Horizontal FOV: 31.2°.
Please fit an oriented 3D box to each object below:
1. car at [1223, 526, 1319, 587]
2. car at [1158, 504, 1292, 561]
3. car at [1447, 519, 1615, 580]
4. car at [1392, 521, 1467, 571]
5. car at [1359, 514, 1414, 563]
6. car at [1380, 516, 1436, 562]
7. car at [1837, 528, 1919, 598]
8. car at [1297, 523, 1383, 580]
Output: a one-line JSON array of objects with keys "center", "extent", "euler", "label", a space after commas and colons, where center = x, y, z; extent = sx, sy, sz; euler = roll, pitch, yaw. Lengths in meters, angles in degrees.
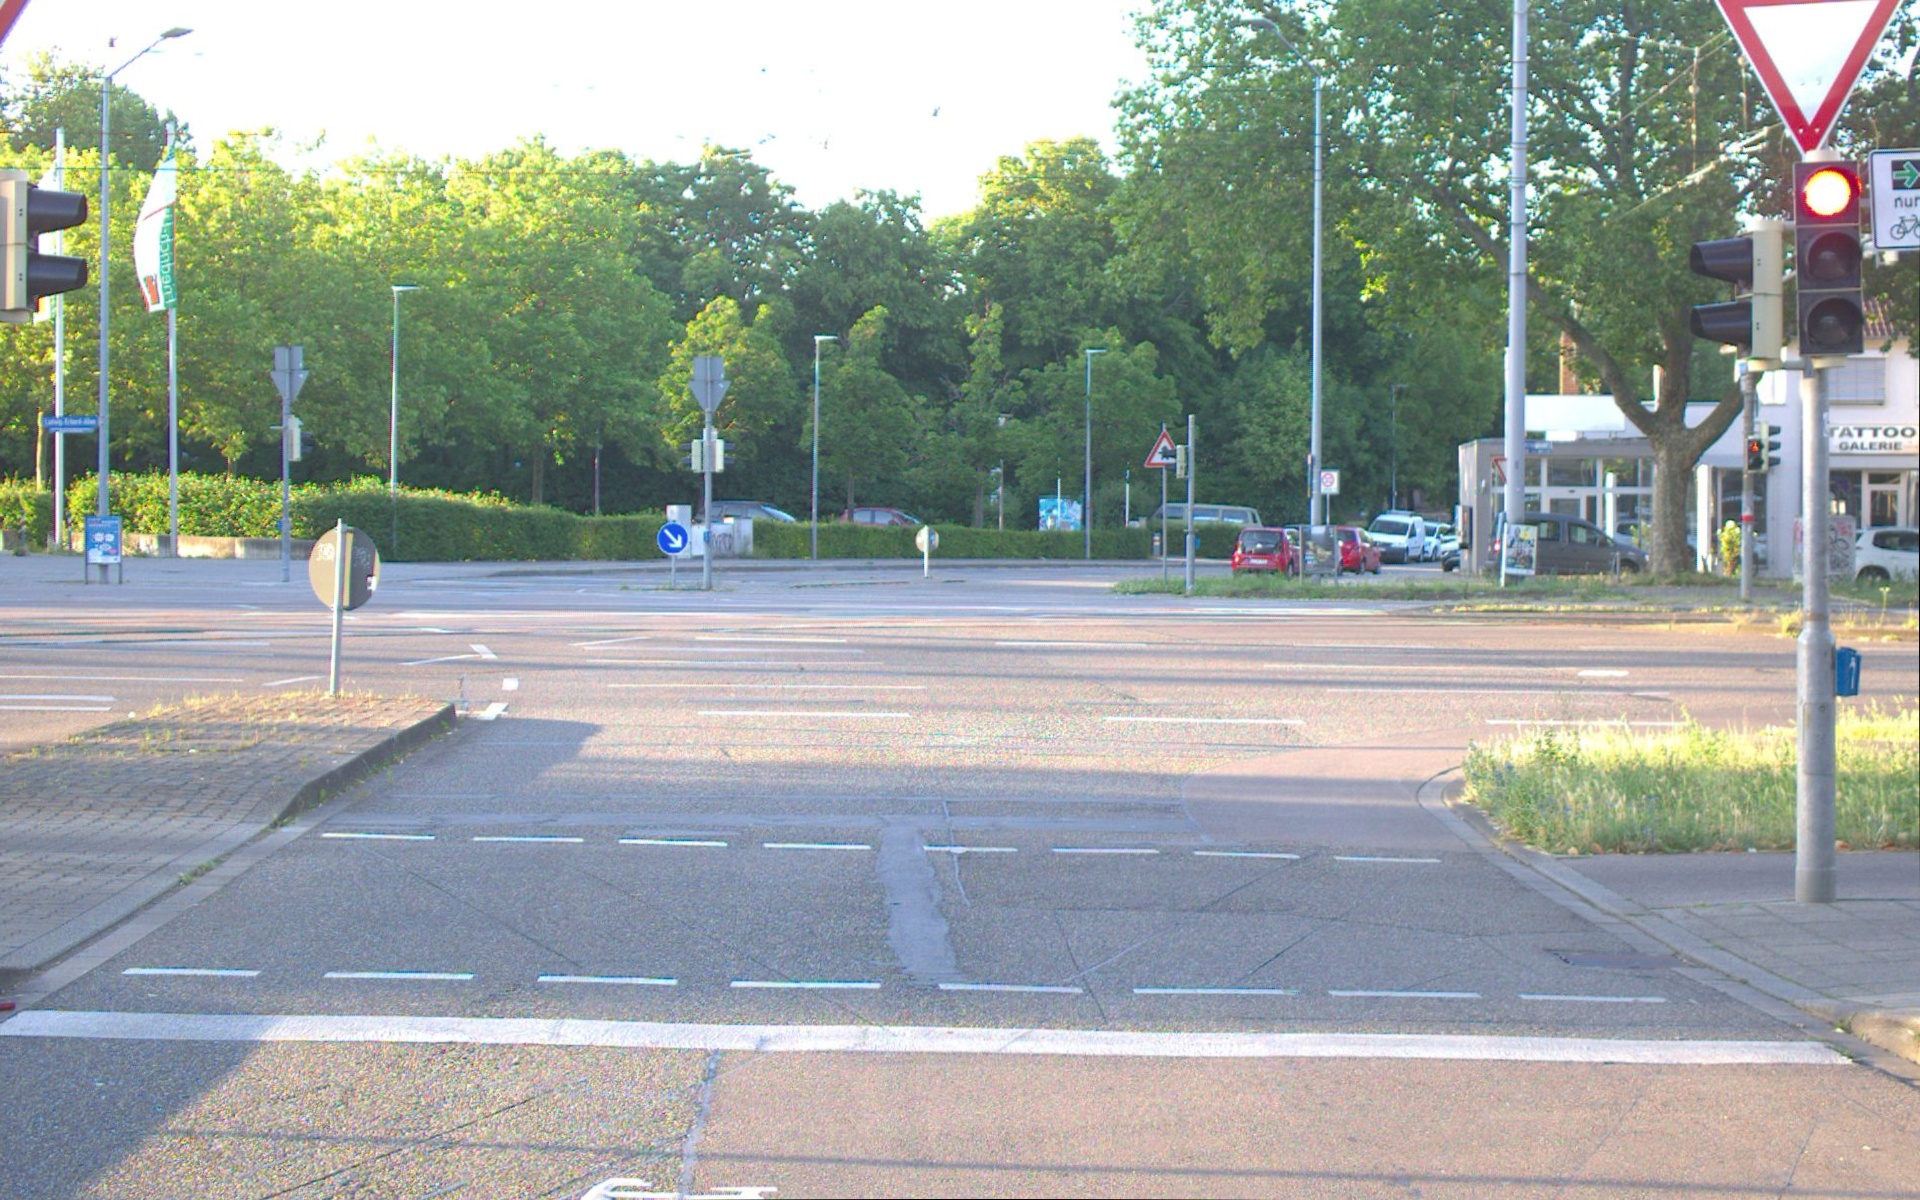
[{"center": [8.709, -1.207, 96.044], "extent": [1.995, 1.656, 3.997], "euler": [1, 0, 15], "label": "car"}, {"center": [9.703, -2.476, 126.230], "extent": [4.774, 1.999, 2.000], "euler": [1, 0, 2], "label": "car"}, {"center": [14.848, -1.304, 89.528], "extent": [4.220, 1.547, 1.999], "euler": [1, 0, 7], "label": "car"}, {"center": [15.846, -1.807, 115.958], "extent": [1.995, 1.656, 3.997], "euler": [1, 0, 15], "label": "car"}, {"center": [16.345, -2.345, 131.548], "extent": [1.864, 1.788, 3.998], "euler": [1, 0, 10], "label": "car"}, {"center": [17.797, -2.413, 136.443], "extent": [1.864, 1.788, 3.998], "euler": [1, 0, 12], "label": "car"}, {"center": [20.515, -0.769, 72.578], "extent": [3.741, 1.435, 1.663], "euler": [1, 0, 9], "label": "car"}, {"center": [11.486, -1.455, 103.731], "extent": [1.995, 1.656, 3.997], "euler": [1, 0, 15], "label": "car"}]
